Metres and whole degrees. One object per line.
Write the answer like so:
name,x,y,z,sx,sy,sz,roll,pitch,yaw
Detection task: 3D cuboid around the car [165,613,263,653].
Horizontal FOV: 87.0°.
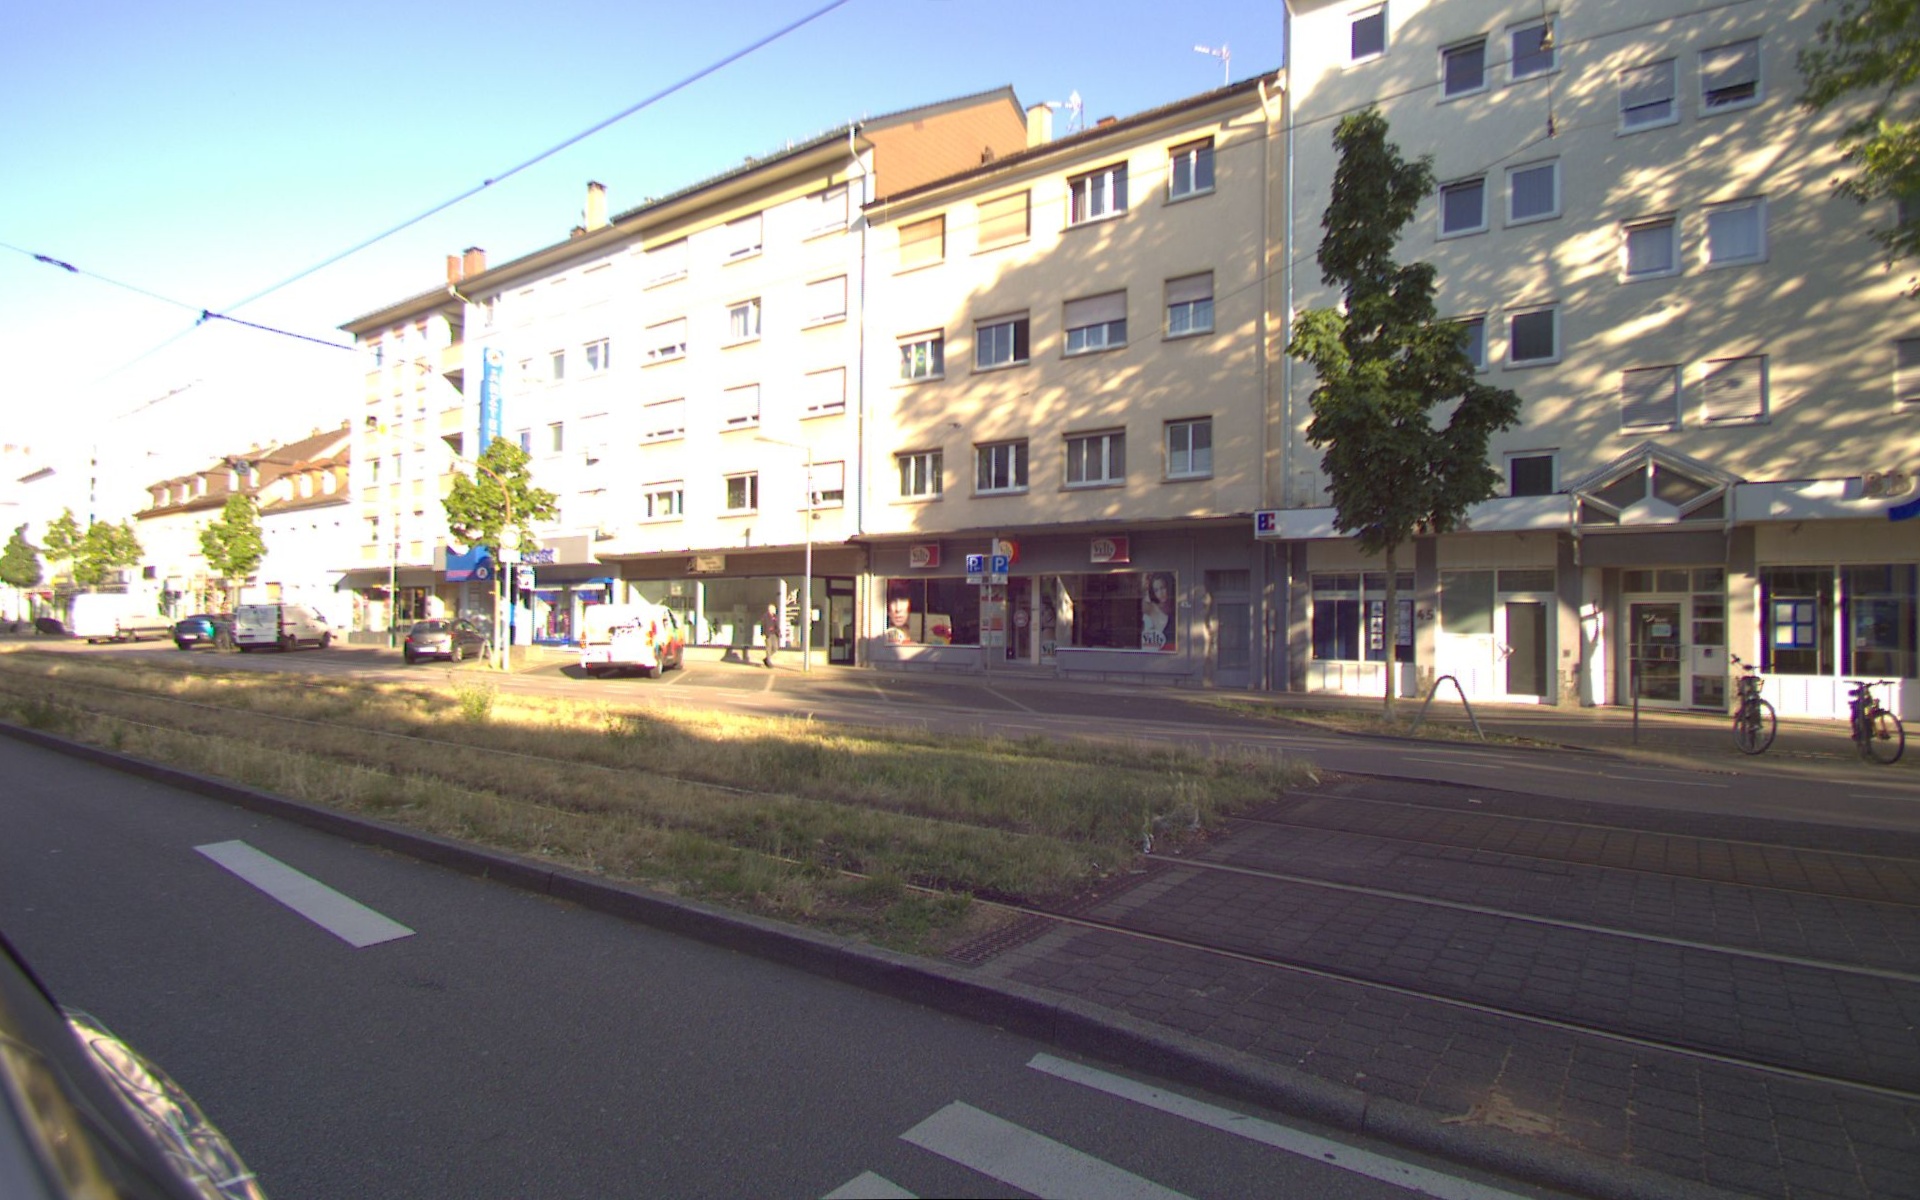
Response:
car,-34.292,1.502,46.655,1.830,1.727,3.919,0,0,-5

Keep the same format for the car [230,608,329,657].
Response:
car,-28.624,1.298,42.733,1.828,1.952,4.514,0,0,-10

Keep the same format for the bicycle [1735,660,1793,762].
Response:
bicycle,10.294,1.378,12.990,0.511,1.147,1.724,-1,-1,36

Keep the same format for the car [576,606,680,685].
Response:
car,-8.789,1.143,27.130,1.830,1.913,4.005,0,0,-6

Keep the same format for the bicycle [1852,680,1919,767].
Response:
bicycle,11.346,1.480,12.394,0.471,0.895,1.724,-1,-1,36

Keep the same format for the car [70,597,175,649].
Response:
car,-45.437,1.210,55.131,1.895,2.634,6.608,0,0,-16

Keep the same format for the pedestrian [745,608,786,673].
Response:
pedestrian,-5.633,1.158,29.330,0.916,1.841,0.747,-1,-1,41

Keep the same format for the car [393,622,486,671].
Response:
car,-17.574,1.521,34.364,1.708,1.508,4.009,0,0,-10
